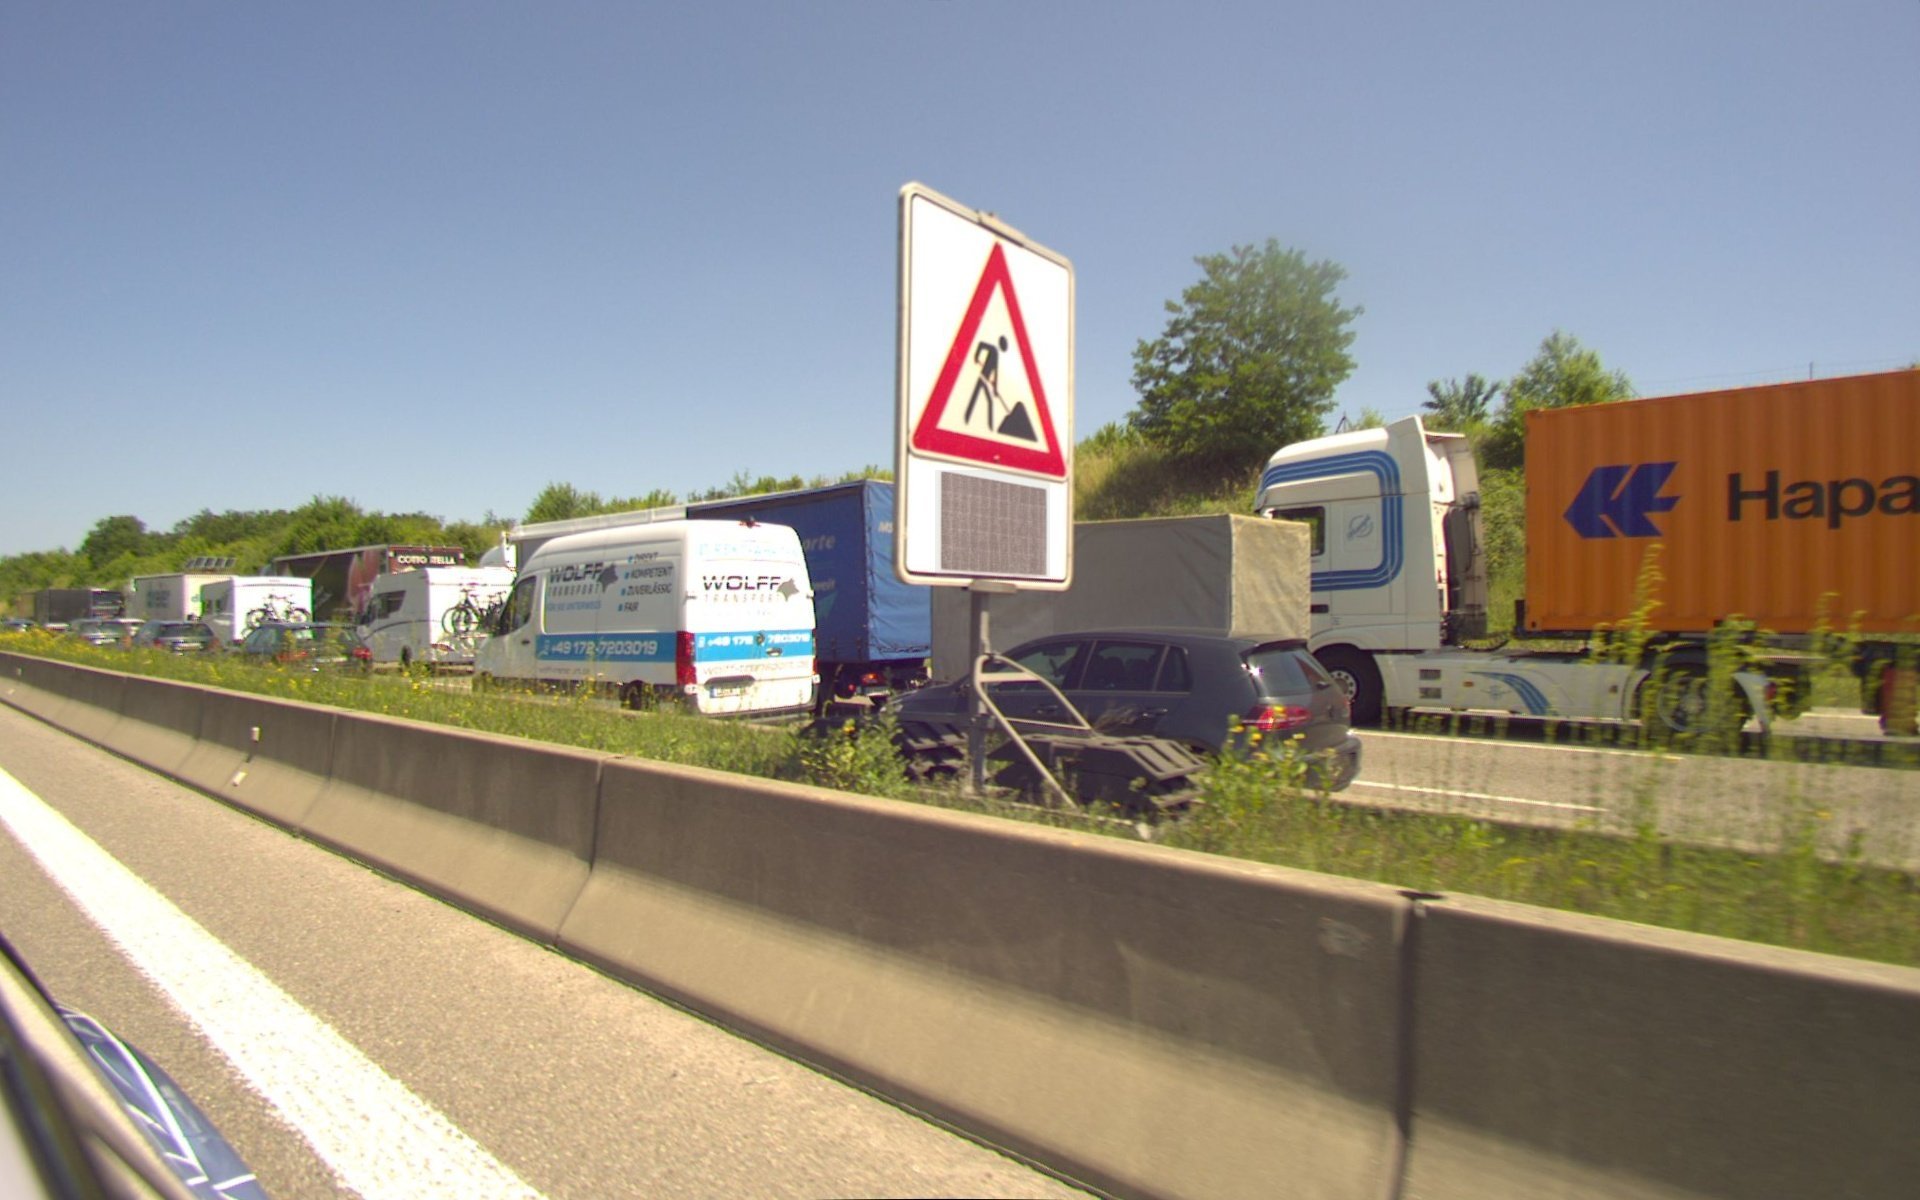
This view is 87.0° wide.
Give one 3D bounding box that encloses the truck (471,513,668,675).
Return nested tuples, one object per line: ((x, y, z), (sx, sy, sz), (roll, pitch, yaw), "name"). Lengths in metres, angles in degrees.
((-11.359, -0.137, 29.190), (6.138, 4.159, 2.772), (-1, 0, 41), "truck")

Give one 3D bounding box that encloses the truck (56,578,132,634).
((-69.439, 0.500, 81.027), (11.481, 4.253, 3.024), (-1, 0, 41), "truck")

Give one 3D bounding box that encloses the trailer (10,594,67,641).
((-87.323, 1.602, 95.858), (11.849, 4.175, 2.623), (-1, 0, 41), "trailer")

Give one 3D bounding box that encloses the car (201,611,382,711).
((-13.493, 1.108, 20.299), (4.933, 1.743, 1.793), (-1, 0, 41), "car")

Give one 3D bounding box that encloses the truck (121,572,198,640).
((-51.636, 0.390, 65.209), (7.027, 4.145, 2.752), (-1, -1, 42), "truck")

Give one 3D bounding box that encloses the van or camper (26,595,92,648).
((-60.413, 1.393, 67.784), (7.942, 3.385, 2.502), (-1, 0, 43), "van or camper")

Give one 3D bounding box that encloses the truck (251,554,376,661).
((-28.436, 0.351, 44.415), (7.026, 4.338, 2.752), (-1, -1, 41), "truck")

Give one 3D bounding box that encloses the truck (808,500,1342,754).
((1.123, 0.311, 13.143), (6.858, 2.525, 2.211), (-1, -1, 41), "truck")

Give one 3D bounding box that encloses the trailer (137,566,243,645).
((-45.966, 0.360, 60.207), (11.705, 4.338, 2.752), (-1, -1, 41), "trailer")

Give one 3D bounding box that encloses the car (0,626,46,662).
((-47.298, 2.161, 50.611), (5.028, 1.646, 1.793), (-1, 0, 41), "car")

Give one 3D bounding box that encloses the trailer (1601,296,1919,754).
((12.548, -0.753, 8.356), (11.993, 4.343, 2.585), (-1, 0, 41), "trailer")

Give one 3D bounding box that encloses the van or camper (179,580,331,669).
((-26.412, 0.848, 37.731), (8.109, 2.970, 2.812), (-1, 0, 41), "van or camper")

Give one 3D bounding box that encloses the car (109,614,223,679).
((-23.625, 1.315, 30.041), (4.971, 1.743, 1.793), (-1, 0, 41), "car")

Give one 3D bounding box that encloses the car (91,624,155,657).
((-43.664, 2.087, 52.745), (4.996, 1.555, 1.793), (-1, 0, 41), "car")

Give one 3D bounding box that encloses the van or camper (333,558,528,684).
((-14.174, 0.510, 26.788), (7.221, 2.945, 2.128), (-1, 0, 41), "van or camper")

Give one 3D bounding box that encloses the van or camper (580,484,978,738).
((-3.362, 0.194, 17.019), (7.675, 3.416, 2.289), (-1, -1, 41), "van or camper")

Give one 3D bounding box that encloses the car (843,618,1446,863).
((1.258, 0.859, 8.104), (4.428, 1.419, 1.882), (-1, -1, 41), "car")

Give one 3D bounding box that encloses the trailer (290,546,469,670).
((-22.947, 0.321, 39.597), (10.788, 4.272, 2.760), (-1, 0, 41), "trailer")

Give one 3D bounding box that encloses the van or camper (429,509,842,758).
((-4.527, 0.386, 13.330), (6.413, 2.560, 2.170), (-1, -1, 41), "van or camper")

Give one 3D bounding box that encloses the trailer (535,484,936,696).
((-6.022, -0.142, 24.488), (12.245, 4.064, 2.752), (-1, 0, 41), "trailer")

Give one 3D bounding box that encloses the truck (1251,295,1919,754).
((7.628, -0.700, 12.578), (7.288, 4.358, 2.563), (-1, 0, 40), "truck")

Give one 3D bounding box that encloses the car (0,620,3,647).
((-60.173, 2.045, 61.990), (5.028, 1.646, 1.793), (-1, 0, 41), "car")

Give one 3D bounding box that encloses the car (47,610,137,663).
((-32.485, 1.305, 37.828), (5.541, 1.823, 1.793), (-1, 0, 41), "car")
